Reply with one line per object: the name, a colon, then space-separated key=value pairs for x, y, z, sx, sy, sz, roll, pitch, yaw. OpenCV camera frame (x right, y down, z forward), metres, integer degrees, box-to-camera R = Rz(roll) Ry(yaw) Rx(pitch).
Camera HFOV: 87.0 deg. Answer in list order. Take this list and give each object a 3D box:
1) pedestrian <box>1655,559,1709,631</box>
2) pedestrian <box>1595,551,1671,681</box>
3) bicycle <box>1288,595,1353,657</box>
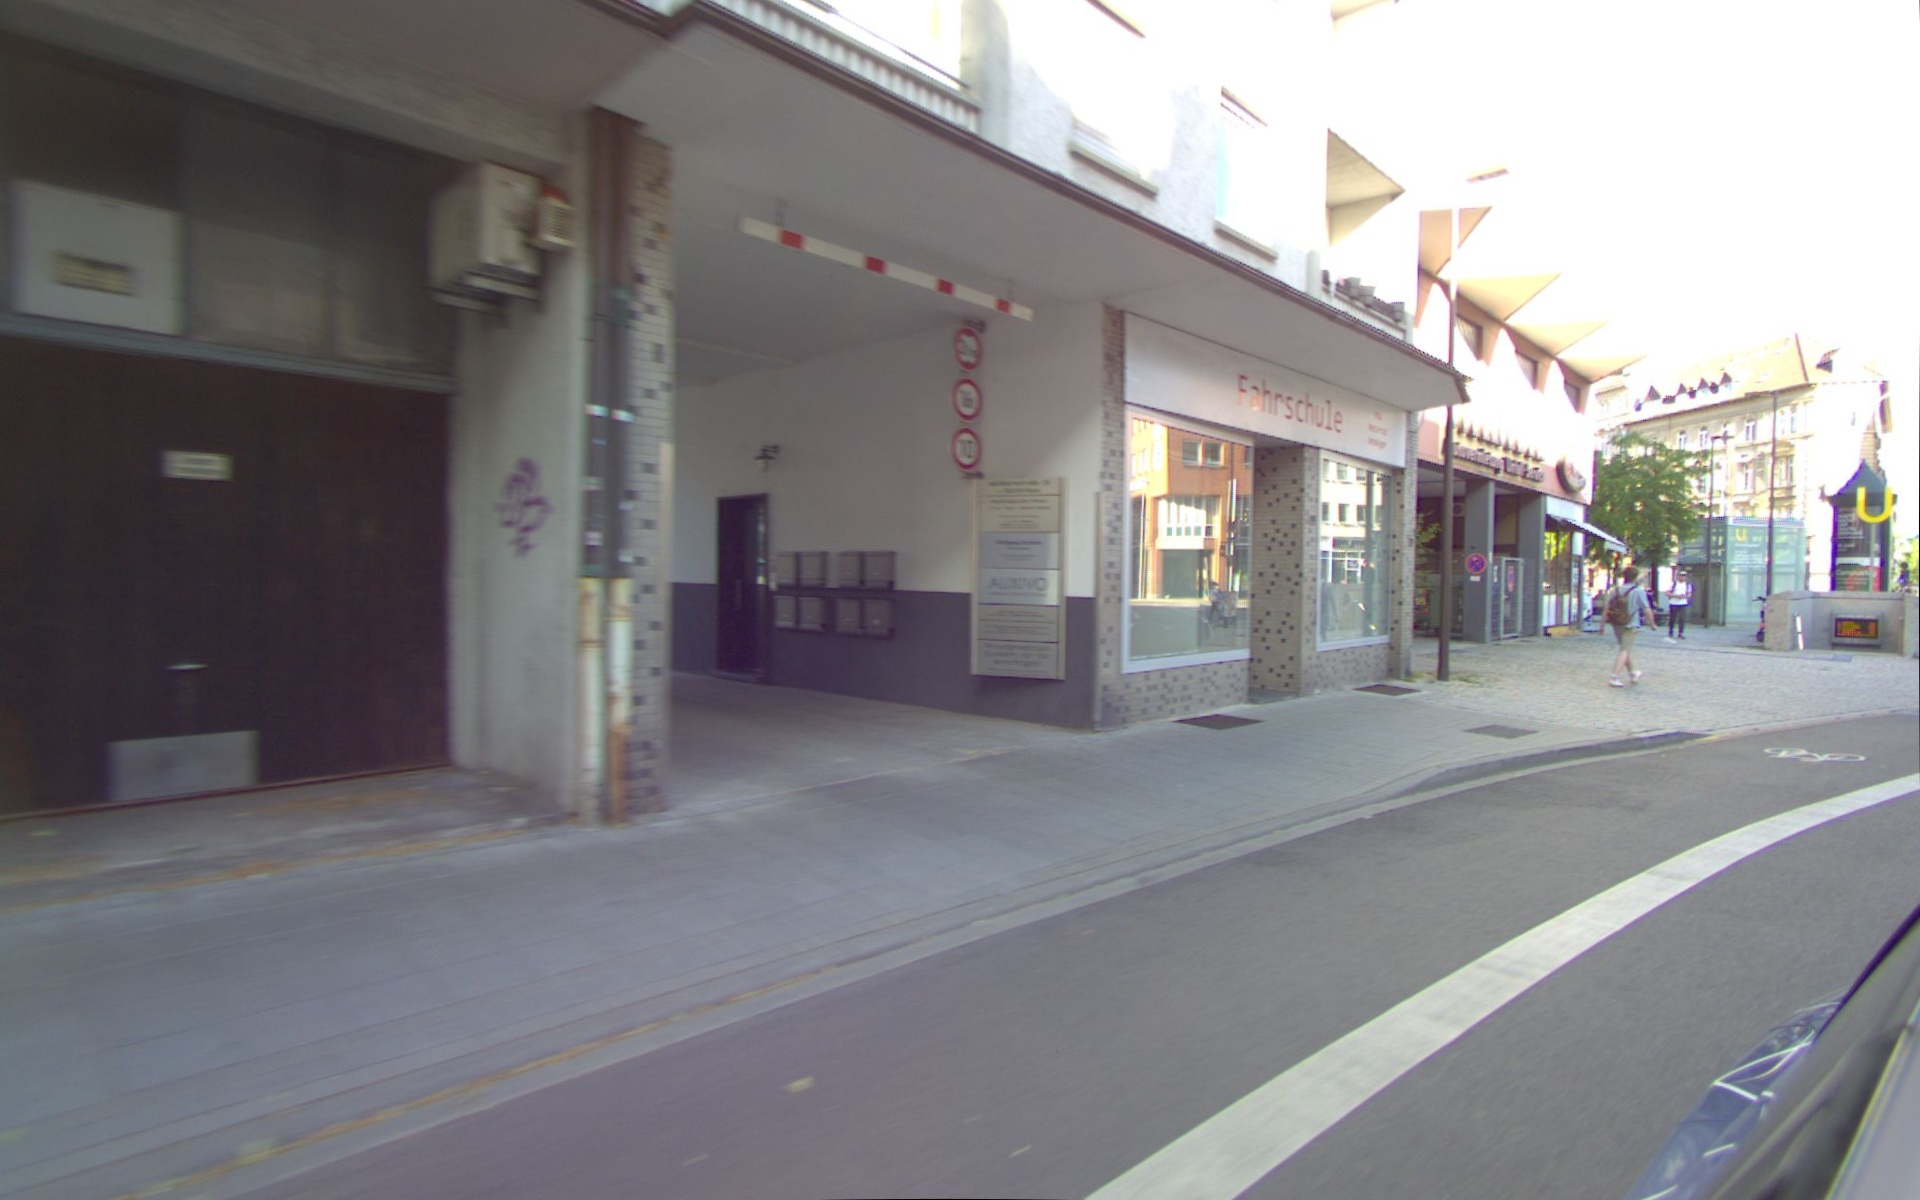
pedestrian: x=19.513 y=-0.144 z=27.372 sx=0.674 sy=1.889 sz=1.045 roll=0 pitch=1 yaw=1
pedestrian: x=10.200 y=0.209 z=15.337 sx=0.731 sy=1.876 sz=0.933 roll=4 pitch=4 yaw=43
bicycle: x=6.587 y=0.453 z=18.458 sx=0.494 sy=1.051 sz=1.613 roll=2 pitch=2 yaw=44
